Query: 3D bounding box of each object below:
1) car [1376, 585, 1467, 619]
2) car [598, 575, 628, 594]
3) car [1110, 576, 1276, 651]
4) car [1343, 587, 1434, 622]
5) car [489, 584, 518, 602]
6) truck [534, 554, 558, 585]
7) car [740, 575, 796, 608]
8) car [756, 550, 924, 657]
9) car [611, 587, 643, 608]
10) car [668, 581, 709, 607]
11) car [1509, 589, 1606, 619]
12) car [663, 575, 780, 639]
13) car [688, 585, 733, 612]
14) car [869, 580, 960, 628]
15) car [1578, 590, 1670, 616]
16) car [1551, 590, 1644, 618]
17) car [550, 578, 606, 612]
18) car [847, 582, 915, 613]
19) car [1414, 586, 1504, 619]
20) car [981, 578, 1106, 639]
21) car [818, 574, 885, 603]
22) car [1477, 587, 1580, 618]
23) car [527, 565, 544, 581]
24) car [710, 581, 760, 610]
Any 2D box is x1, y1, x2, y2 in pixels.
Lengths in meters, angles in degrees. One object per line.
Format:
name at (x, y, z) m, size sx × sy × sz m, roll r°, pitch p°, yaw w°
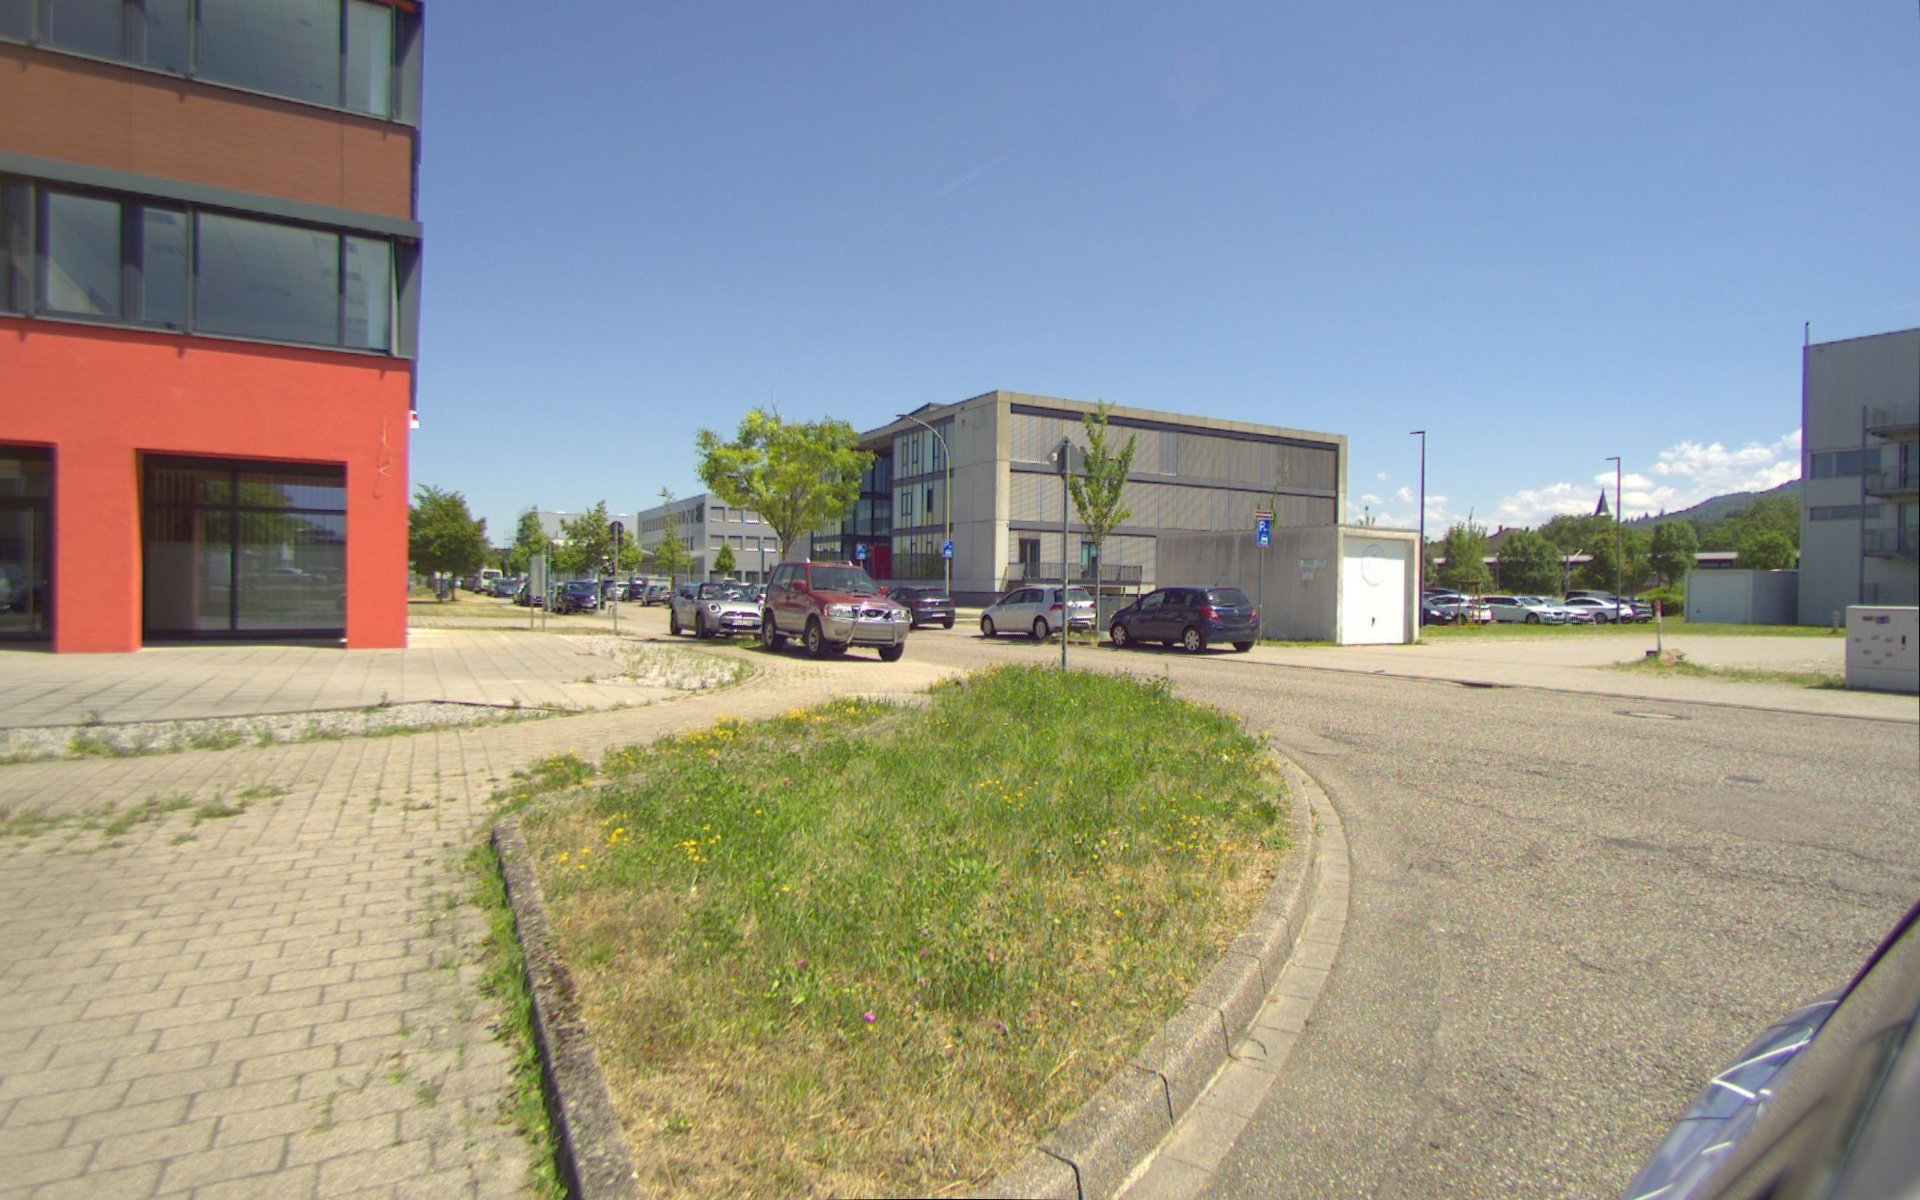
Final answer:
car at (21.577, 0.062, 47.424) m, size 1.626 × 1.554 × 3.632 m, roll 0°, pitch 1°, yaw -30°
car at (-28.314, -1.245, 82.528) m, size 1.626 × 1.487 × 3.632 m, roll -3°, pitch 2°, yaw -29°
car at (5.238, 0.254, 23.133) m, size 1.650 × 1.519 × 3.632 m, roll -3°, pitch 2°, yaw -30°
car at (19.632, 0.157, 46.528) m, size 1.626 × 1.519 × 3.632 m, roll 0°, pitch 1°, yaw -30°
car at (-37.320, -0.570, 82.686) m, size 1.752 × 1.460 × 3.711 m, roll 0°, pitch 1°, yaw -31°
truck at (-50.533, -3.694, 123.460) m, size 1.767 × 3.632 × 7.442 m, roll 0°, pitch 1°, yaw -29°
car at (-9.517, -0.437, 49.991) m, size 1.626 × 1.487 × 3.632 m, roll -3°, pitch 2°, yaw -29°
car at (-2.406, 0.074, 19.318) m, size 1.773 × 1.798 × 4.005 m, roll 3°, pitch -1°, yaw -28°
car at (-25.693, -0.192, 78.079) m, size 1.626 × 1.487 × 3.632 m, roll -3°, pitch 2°, yaw -29°
car at (-16.977, -0.406, 63.199) m, size 1.626 × 1.487 × 3.632 m, roll -3°, pitch 2°, yaw -29°
car at (31.051, 0.173, 52.700) m, size 1.626 × 1.485 × 4.061 m, roll 0°, pitch 1°, yaw -30°
car at (-6.119, 0.143, 25.692) m, size 1.752 × 1.460 × 3.711 m, roll 3°, pitch -1°, yaw -31°
car at (-14.564, -0.129, 58.951) m, size 1.626 × 1.487 × 3.632 m, roll -3°, pitch 2°, yaw -29°
car at (-1.609, 0.093, 34.871) m, size 1.626 × 1.487 × 3.632 m, roll -3°, pitch 2°, yaw -29°
car at (37.607, 0.145, 57.408) m, size 1.626 × 1.404 × 4.061 m, roll 0°, pitch 1°, yaw -30°
car at (34.884, 0.191, 55.486) m, size 1.626 × 1.443 × 4.061 m, roll 0°, pitch 1°, yaw -30°
car at (-17.522, -0.240, 46.323) m, size 1.752 × 1.460 × 3.711 m, roll 0°, pitch 1°, yaw -31°
car at (-4.256, -0.168, 54.594) m, size 1.650 × 1.487 × 3.579 m, roll 0°, pitch 2°, yaw 39°
car at (24.015, 0.071, 48.841) m, size 1.626 × 1.519 × 3.632 m, roll 0°, pitch 1°, yaw -30°
car at (2.271, 0.192, 28.195) m, size 1.626 × 1.519 × 3.631 m, roll -3°, pitch 2°, yaw -31°
car at (-6.011, -0.656, 56.370) m, size 1.650 × 1.487 × 3.579 m, roll 0°, pitch 2°, yaw 39°
car at (28.881, 0.103, 51.564) m, size 1.675 × 1.485 × 4.376 m, roll 0°, pitch 1°, yaw -30°
car at (-57.421, -3.619, 136.989) m, size 1.861 × 2.039 × 4.006 m, roll 0°, pitch 1°, yaw -26°
car at (-12.118, -0.269, 54.352) m, size 1.626 × 1.487 × 3.632 m, roll -3°, pitch 2°, yaw -29°
